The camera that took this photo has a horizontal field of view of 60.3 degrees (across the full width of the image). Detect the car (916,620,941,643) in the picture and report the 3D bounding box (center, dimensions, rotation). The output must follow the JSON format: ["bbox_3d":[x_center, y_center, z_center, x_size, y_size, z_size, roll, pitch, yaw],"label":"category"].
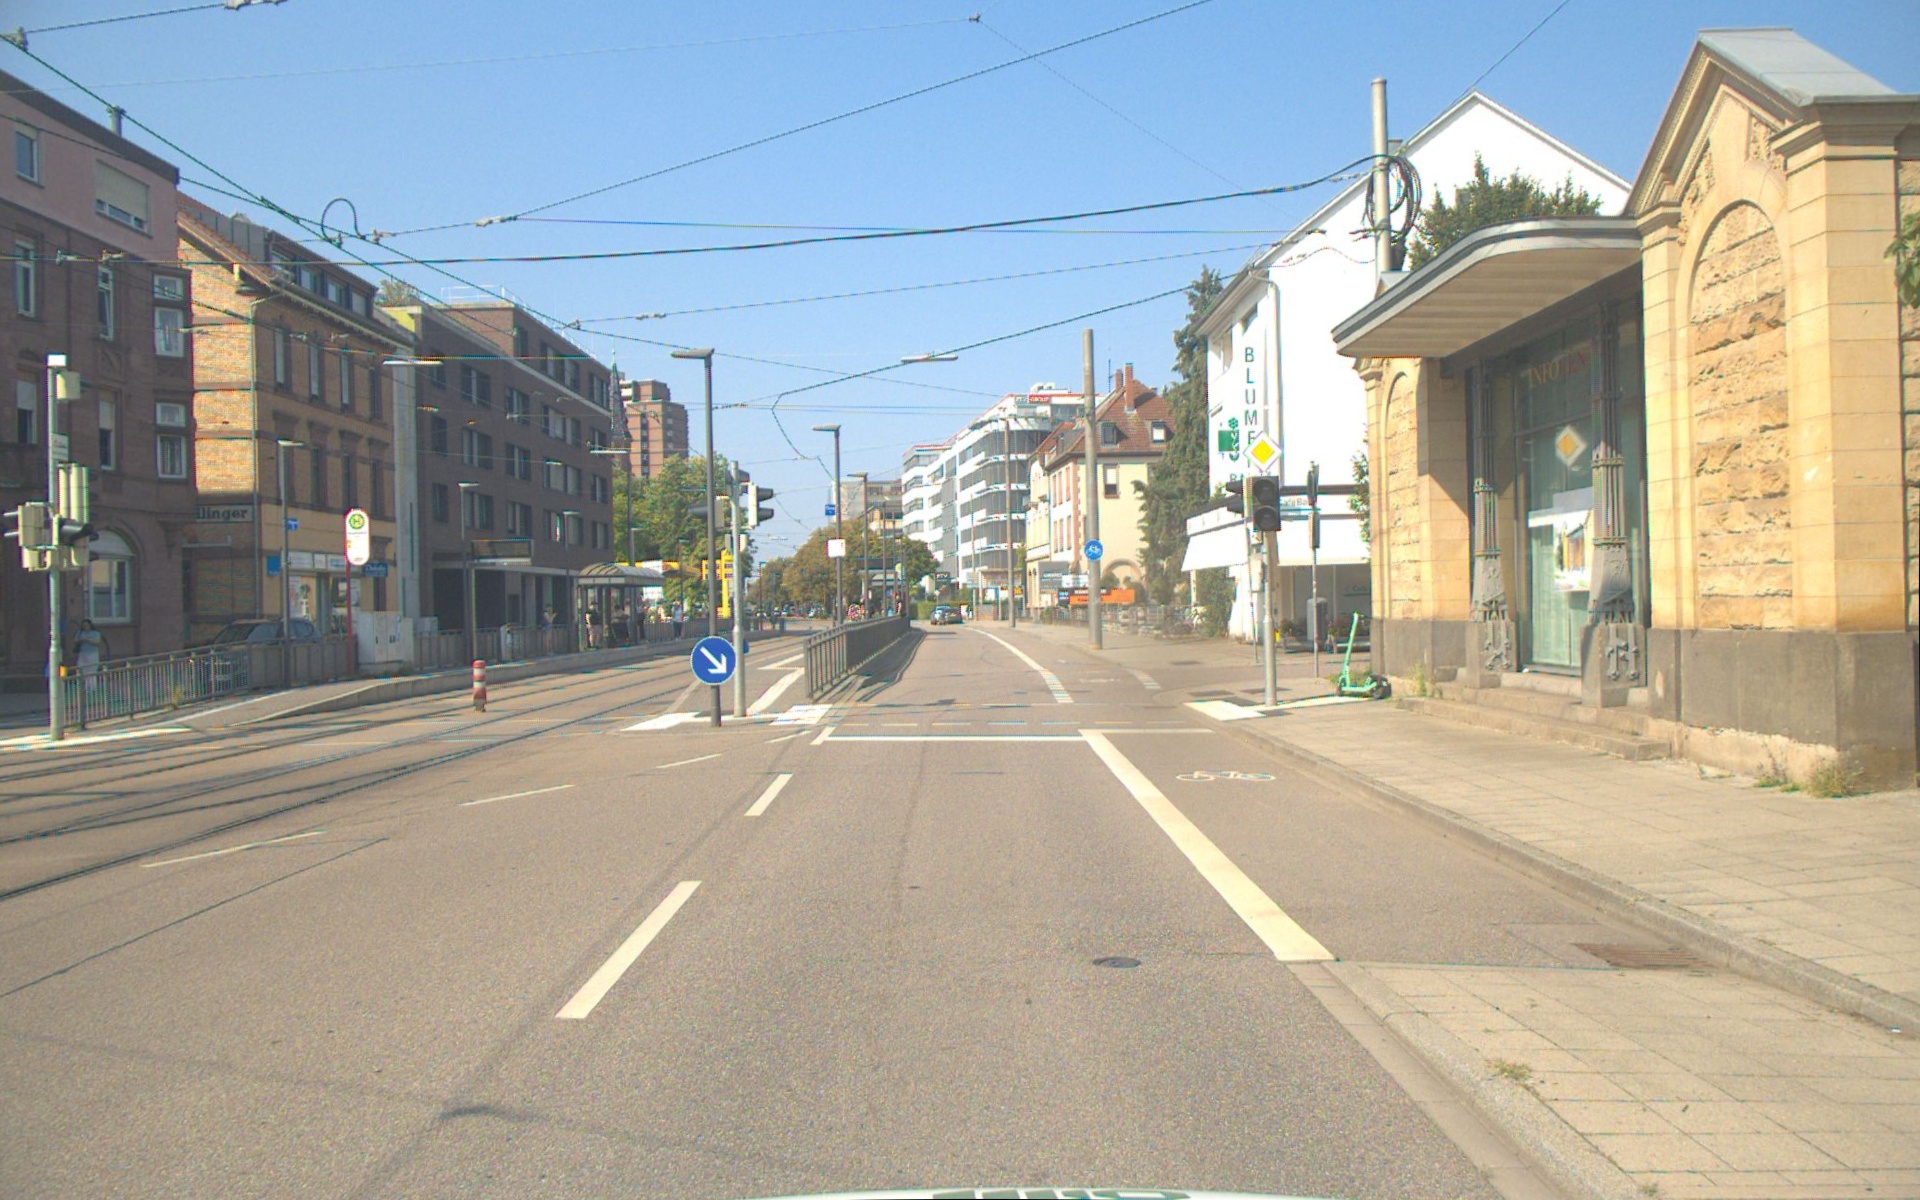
[{"bbox_3d":[-2.850,2.844,149.629,1.970,1.891,4.000,-3,-1,1],"label":"car"}]

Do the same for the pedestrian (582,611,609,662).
[{"bbox_3d":[-12.955,1.302,58.819,0.693,1.777,0.799,-3,-1,0],"label":"pedestrian"}]

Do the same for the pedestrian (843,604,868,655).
[{"bbox_3d":[-3.649,1.037,57.626,0.705,1.733,0.884,-3,-1,0],"label":"pedestrian"}]

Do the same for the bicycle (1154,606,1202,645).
[{"bbox_3d":[7.017,0.839,53.357,0.717,1.152,2.835,-5,-1,-7],"label":"bicycle"}]

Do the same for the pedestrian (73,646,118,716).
[{"bbox_3d":[-19.940,1.863,38.157,0.472,1.587,0.888,-1,-2,10],"label":"pedestrian"}]

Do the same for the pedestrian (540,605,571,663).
[{"bbox_3d":[-12.757,1.073,52.240,0.693,1.753,0.799,-3,-1,0],"label":"pedestrian"}]

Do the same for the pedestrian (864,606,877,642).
[{"bbox_3d":[-4.337,1.181,80.356,0.525,1.733,0.581,-3,-1,-3],"label":"pedestrian"}]

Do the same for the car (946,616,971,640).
[{"bbox_3d":[-0.137,2.420,143.561,1.970,1.891,4.000,-3,-1,1],"label":"car"}]

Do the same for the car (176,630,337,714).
[{"bbox_3d":[-15.874,1.578,37.560,1.776,1.683,4.248,-3,-1,0],"label":"car"}]

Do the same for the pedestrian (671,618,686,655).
[{"bbox_3d":[-12.138,1.556,71.268,0.522,1.556,0.700,-3,-1,-7],"label":"pedestrian"}]

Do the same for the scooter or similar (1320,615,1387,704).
[{"bbox_3d":[5.403,0.796,22.773,0.512,1.153,1.511,-3,-1,0],"label":"scooter or similar"}]

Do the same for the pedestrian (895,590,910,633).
[{"bbox_3d":[-2.364,0.467,67.883,0.525,1.733,0.581,-3,-1,-3],"label":"pedestrian"}]
